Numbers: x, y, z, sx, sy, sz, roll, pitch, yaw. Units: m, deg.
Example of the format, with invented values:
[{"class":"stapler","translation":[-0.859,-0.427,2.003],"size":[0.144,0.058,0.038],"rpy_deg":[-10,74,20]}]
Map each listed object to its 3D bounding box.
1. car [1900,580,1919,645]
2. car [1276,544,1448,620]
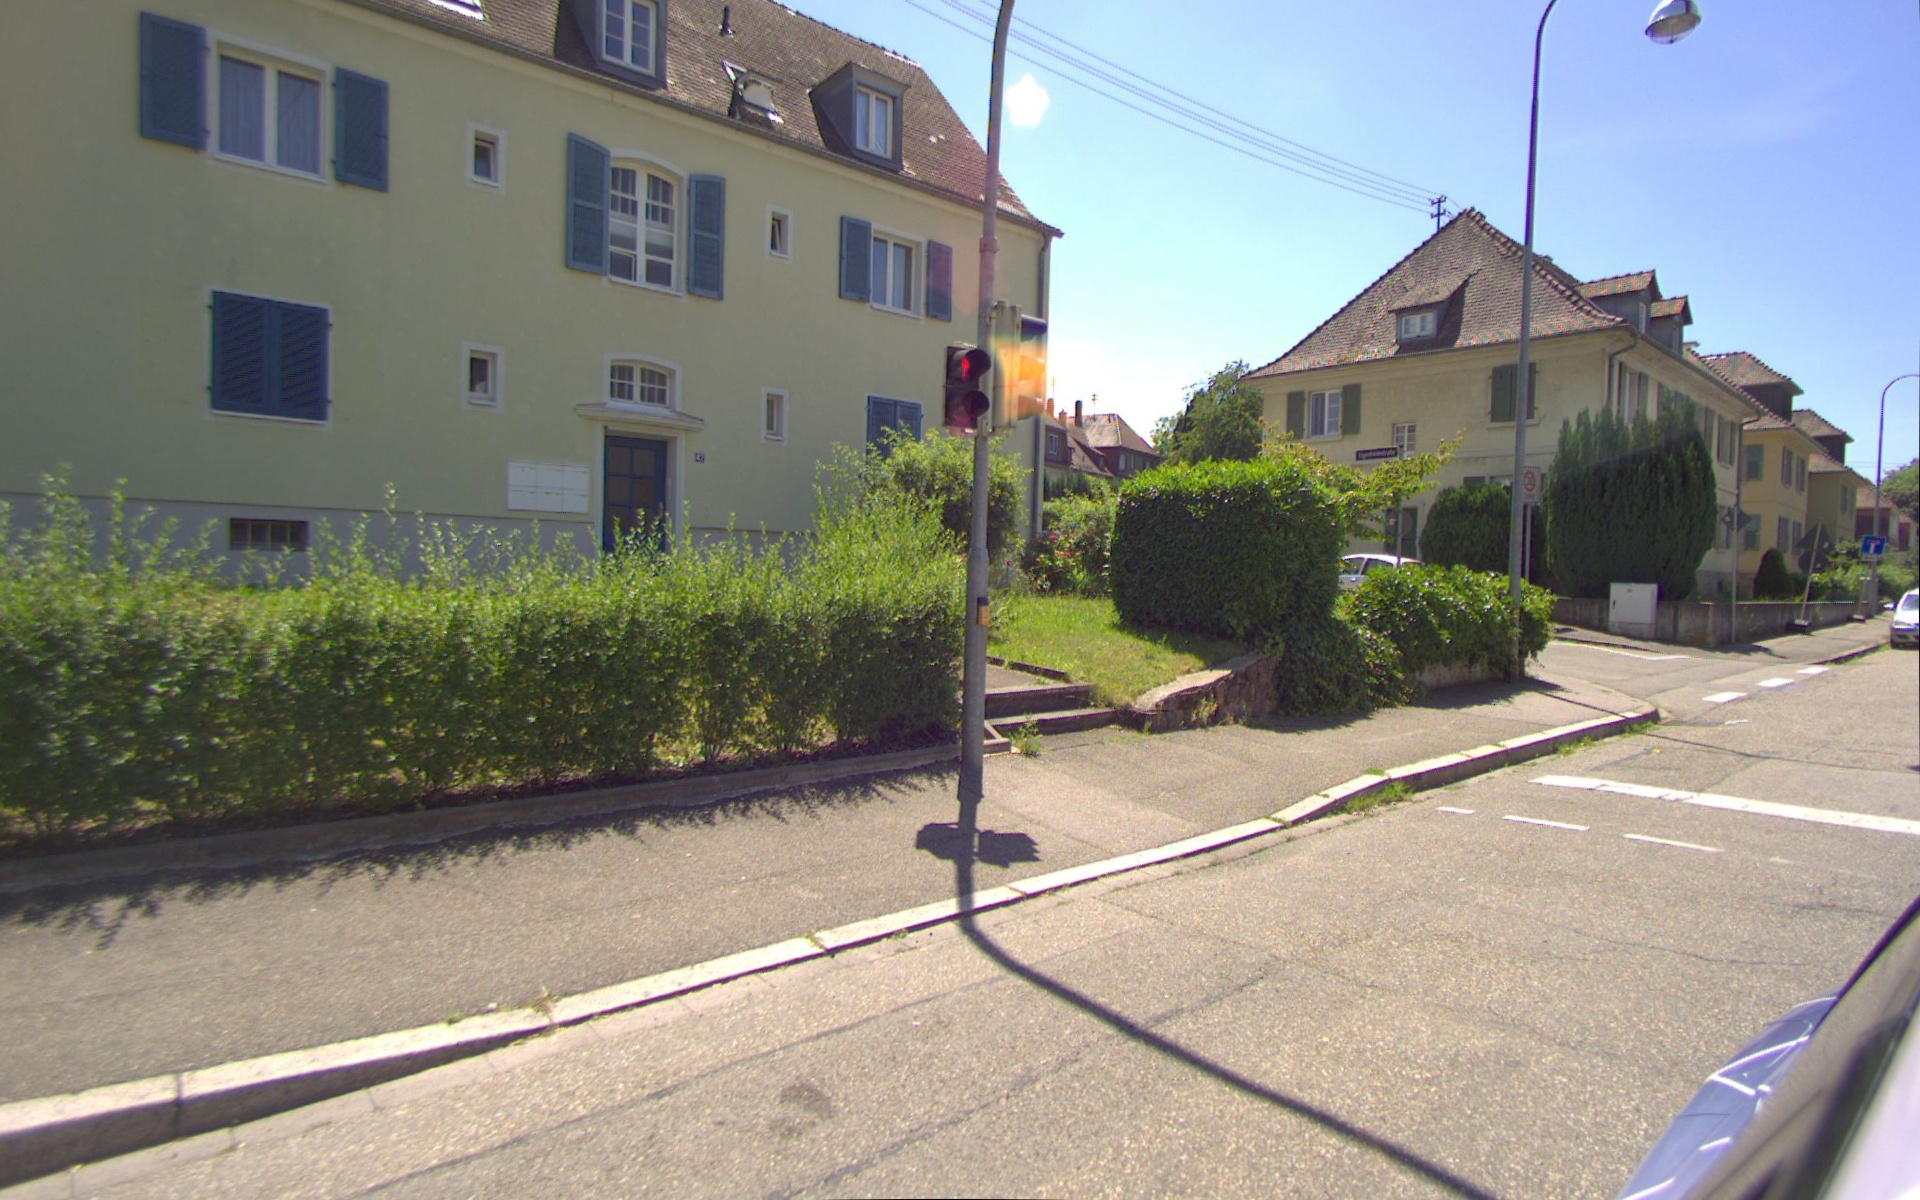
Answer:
[{"class":"car","translation":[24.149,0.258,24.624],"size":[3.935,1.484,1.667],"rpy_deg":[-2,1,-44]},{"class":"car","translation":[9.478,-0.487,24.046],"size":[1.582,1.469,3.420],"rpy_deg":[-1,6,-35]}]
